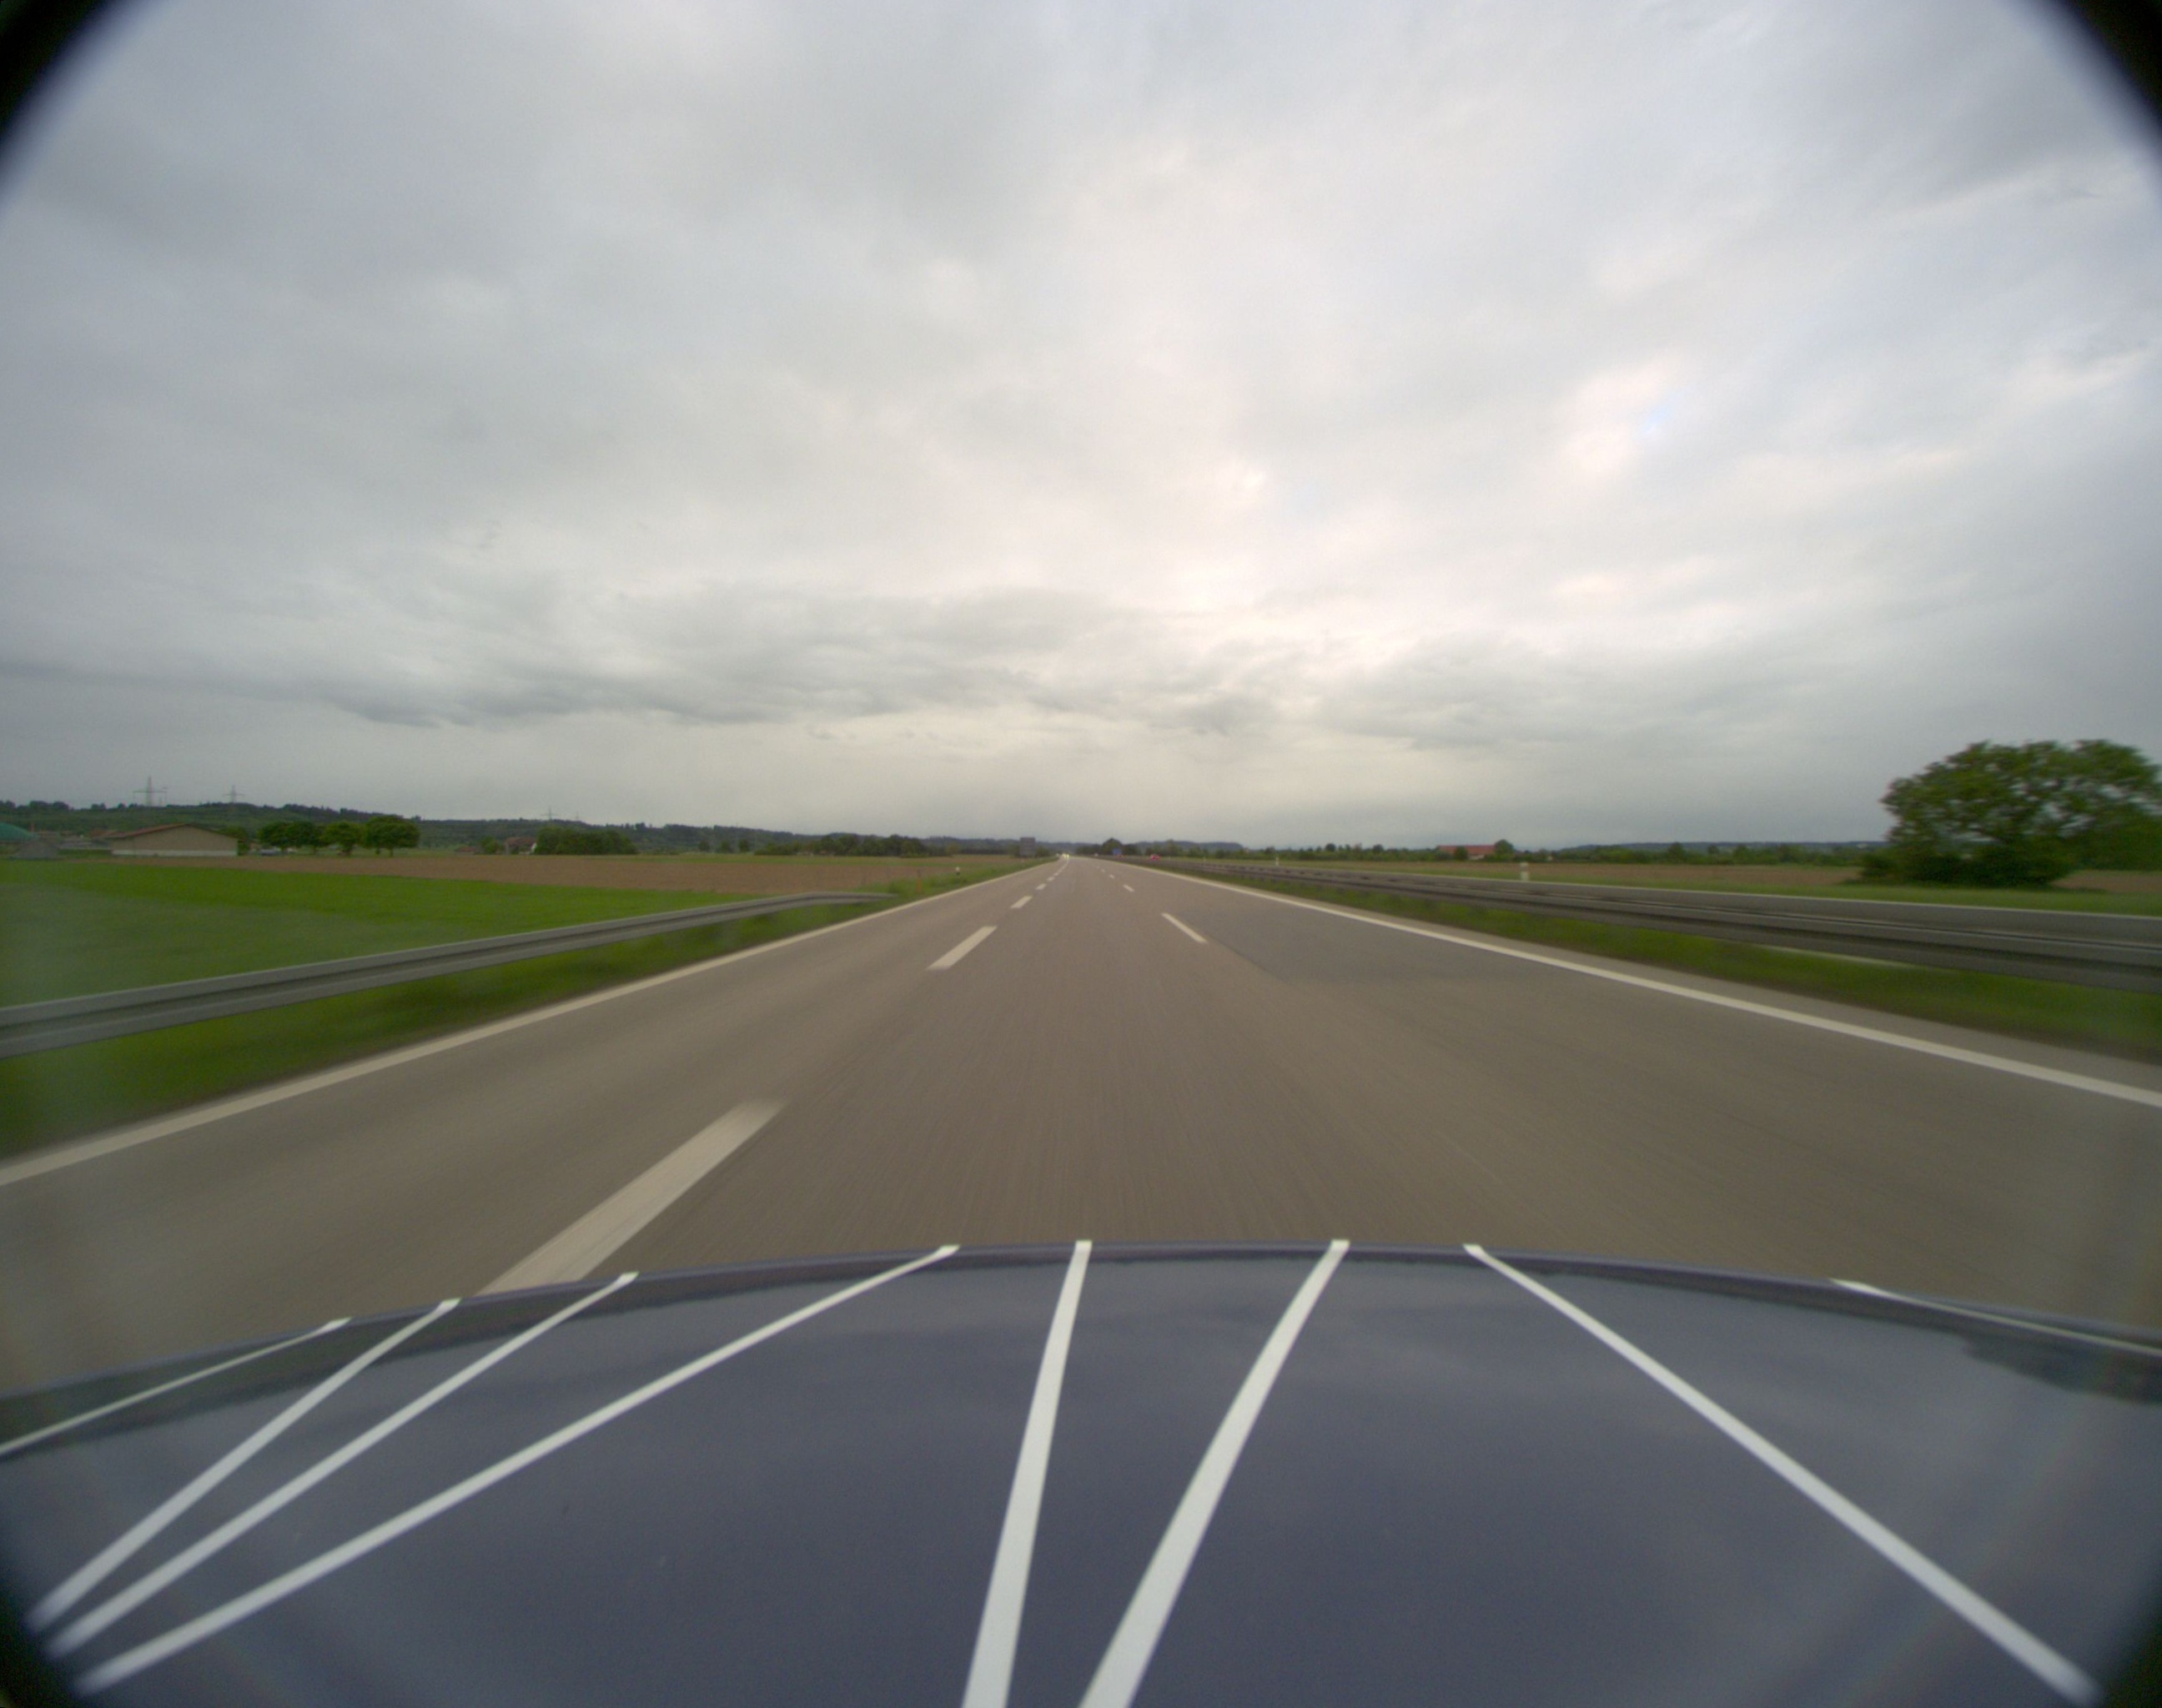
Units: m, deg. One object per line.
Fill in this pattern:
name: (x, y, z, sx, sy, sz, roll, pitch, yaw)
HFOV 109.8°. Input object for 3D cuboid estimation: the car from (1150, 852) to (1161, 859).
car: (16.967, 0.297, 172.362, 1.998, 1.408, 4.523, -2, 0, 0)
